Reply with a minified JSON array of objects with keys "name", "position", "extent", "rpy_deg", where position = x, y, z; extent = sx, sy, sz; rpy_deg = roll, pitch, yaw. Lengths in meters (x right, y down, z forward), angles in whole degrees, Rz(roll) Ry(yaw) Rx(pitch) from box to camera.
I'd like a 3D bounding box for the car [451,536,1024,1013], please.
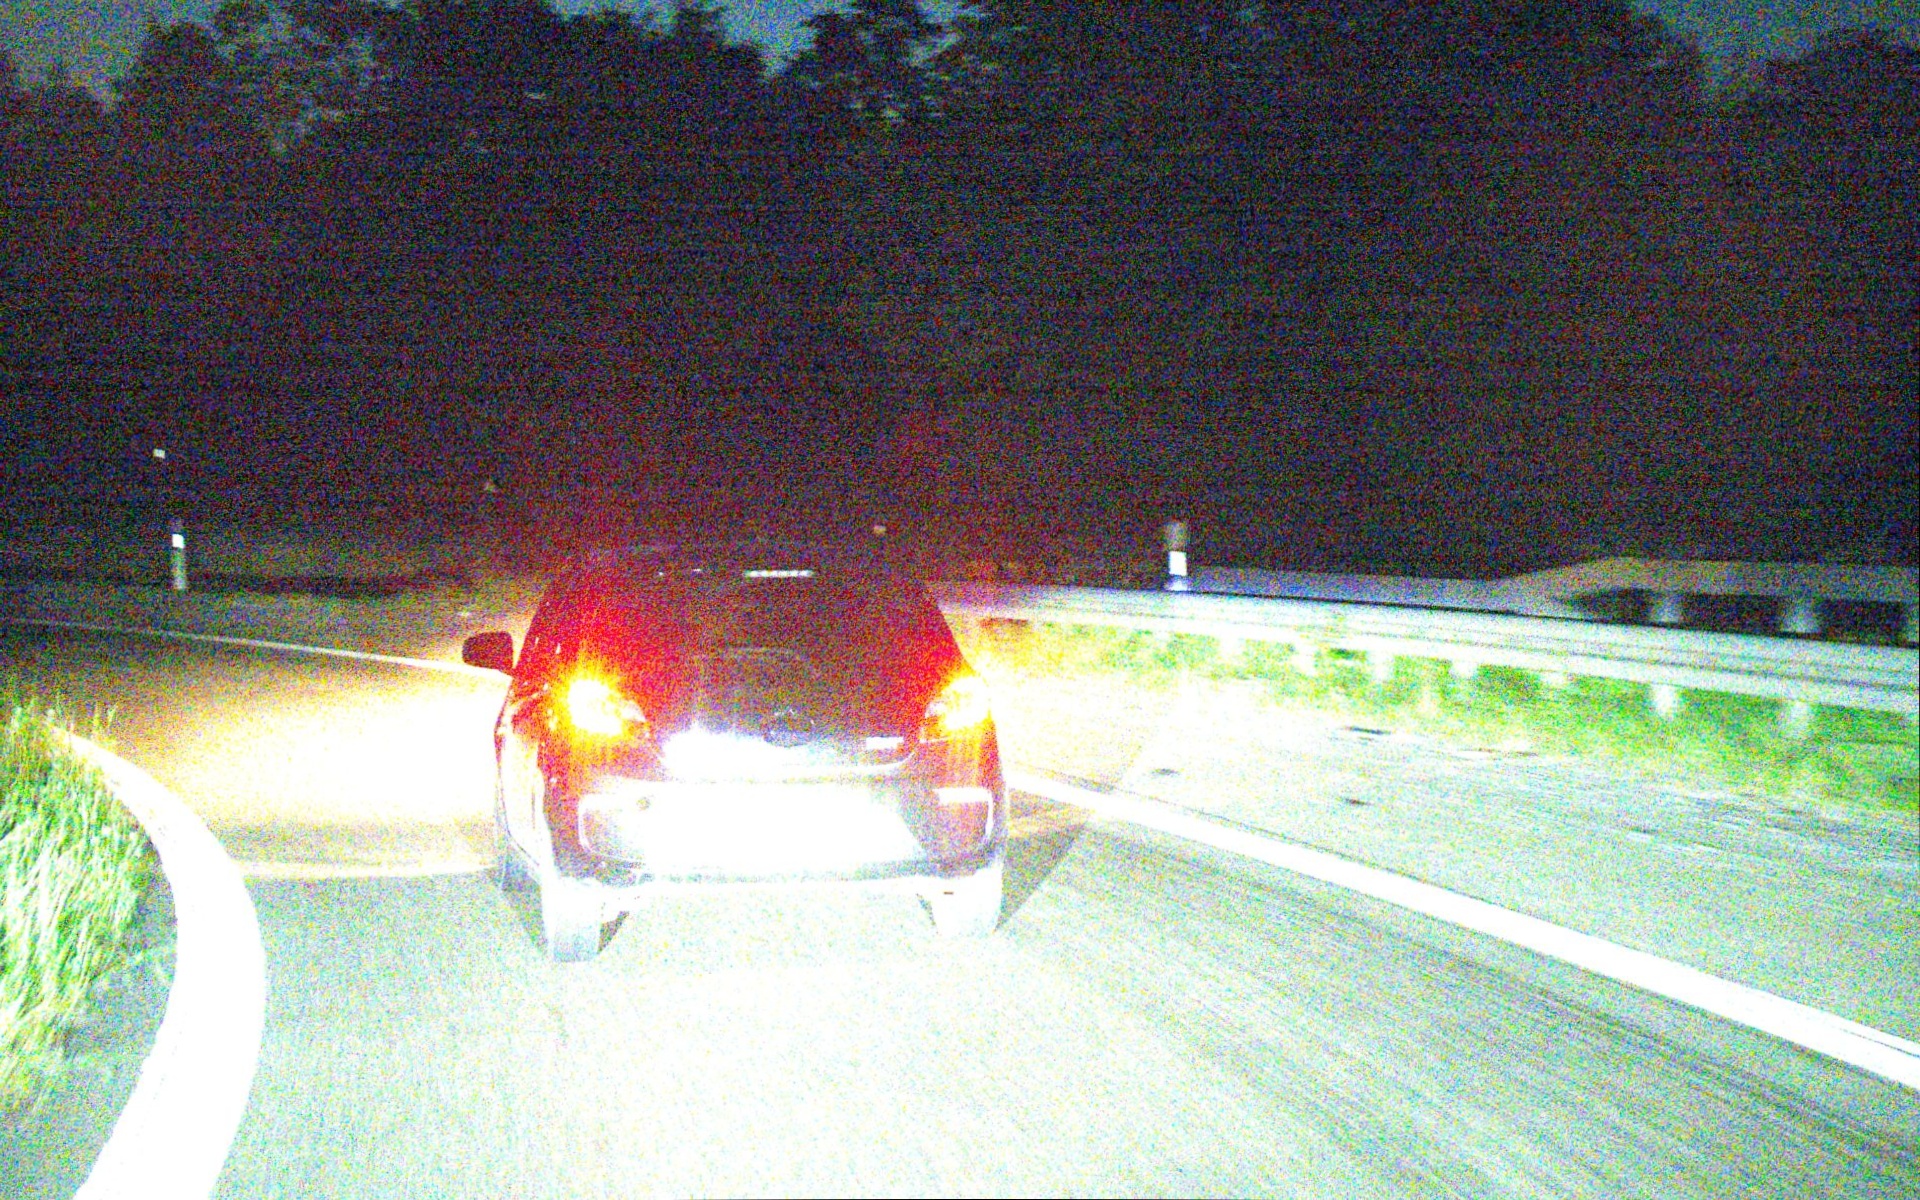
[{"name":"car","position":[-1.018,0.537,13.419],"extent":[1.691,1.472,4.001],"rpy_deg":[-3,2,-11]}]
